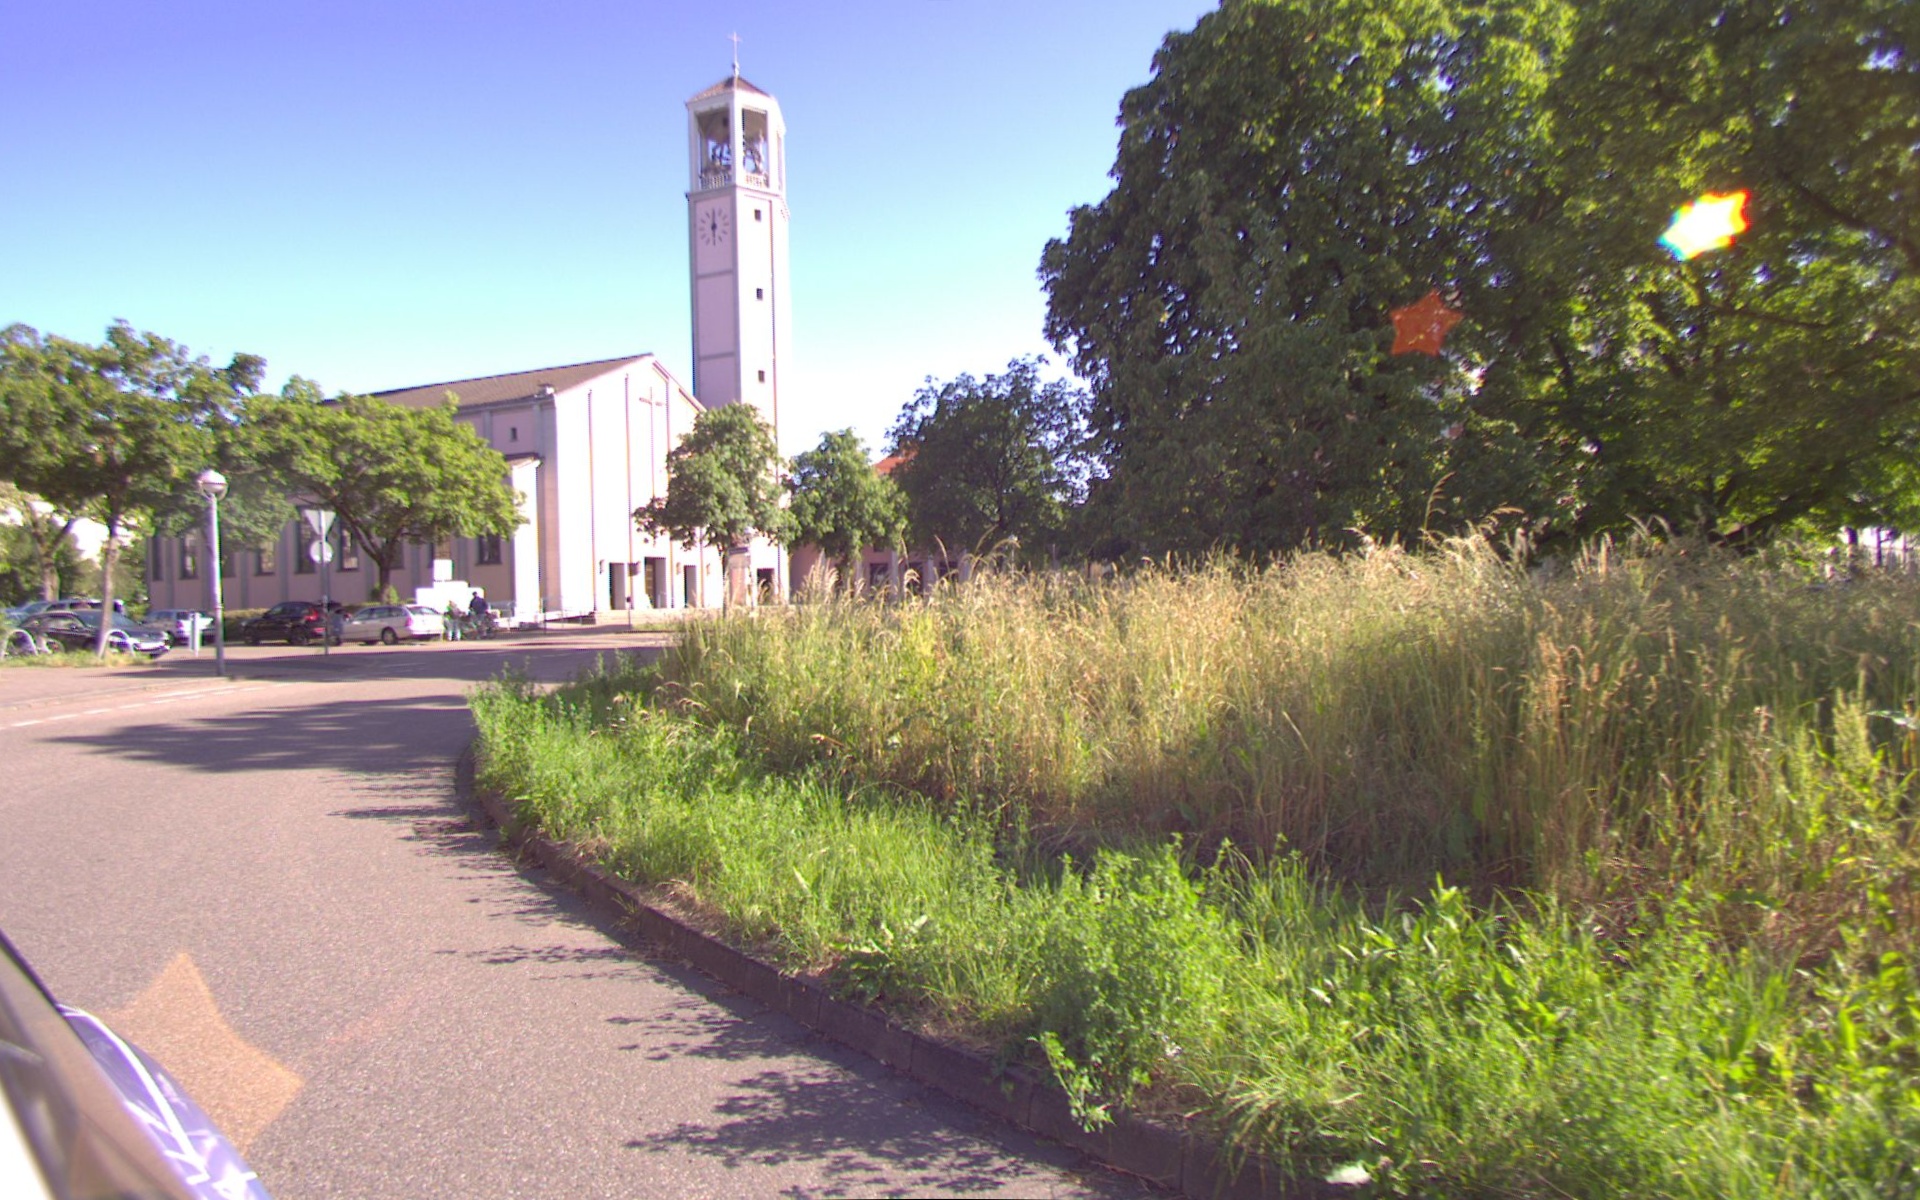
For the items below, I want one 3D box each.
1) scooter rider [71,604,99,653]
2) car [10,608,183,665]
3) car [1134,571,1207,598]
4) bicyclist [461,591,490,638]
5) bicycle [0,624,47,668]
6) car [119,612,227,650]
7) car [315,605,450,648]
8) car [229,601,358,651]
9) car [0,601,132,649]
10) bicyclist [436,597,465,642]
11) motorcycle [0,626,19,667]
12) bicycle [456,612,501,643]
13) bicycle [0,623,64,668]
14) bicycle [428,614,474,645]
[{"bbox_3d":[-33.124,1.083,38.314,0.629,1.846,0.619,-1,0,29],"label":"scooter rider"},{"bbox_3d":[-25.128,1.059,29.469,4.302,1.494,1.800,-1,2,18],"label":"car"},{"bbox_3d":[11.870,-0.854,57.033,3.682,1.446,1.652,-1,0,31],"label":"car"},{"bbox_3d":[-18.224,0.528,38.049,0.720,1.727,0.639,-1,1,29],"label":"bicyclist"},{"bbox_3d":[-24.761,1.180,26.104,0.542,1.123,1.714,-1,-2,22],"label":"bicycle"},{"bbox_3d":[-32.410,1.278,41.655,4.315,1.485,1.794,-2,-1,26],"label":"car"},{"bbox_3d":[-20.568,0.957,36.066,4.303,1.426,1.799,-2,-1,18],"label":"car"},{"bbox_3d":[-25.139,0.984,38.201,4.303,1.741,1.799,-2,-1,18],"label":"car"},{"bbox_3d":[-39.747,1.078,44.668,1.795,2.016,4.751,-2,-1,18],"label":"car"},{"bbox_3d":[-18.689,0.708,37.125,0.801,1.593,0.589,-1,1,32],"label":"bicyclist"},{"bbox_3d":[-26.060,1.242,26.759,0.496,1.115,1.718,-1,-2,15],"label":"motorcycle"},{"bbox_3d":[-18.073,1.034,37.979,1.710,1.116,0.639,-1,1,30],"label":"bicycle"},{"bbox_3d":[-23.974,1.142,25.734,0.542,1.123,1.714,-1,-2,22],"label":"bicycle"},{"bbox_3d":[-18.688,1.076,37.135,1.857,1.116,0.589,-1,1,32],"label":"bicycle"}]
